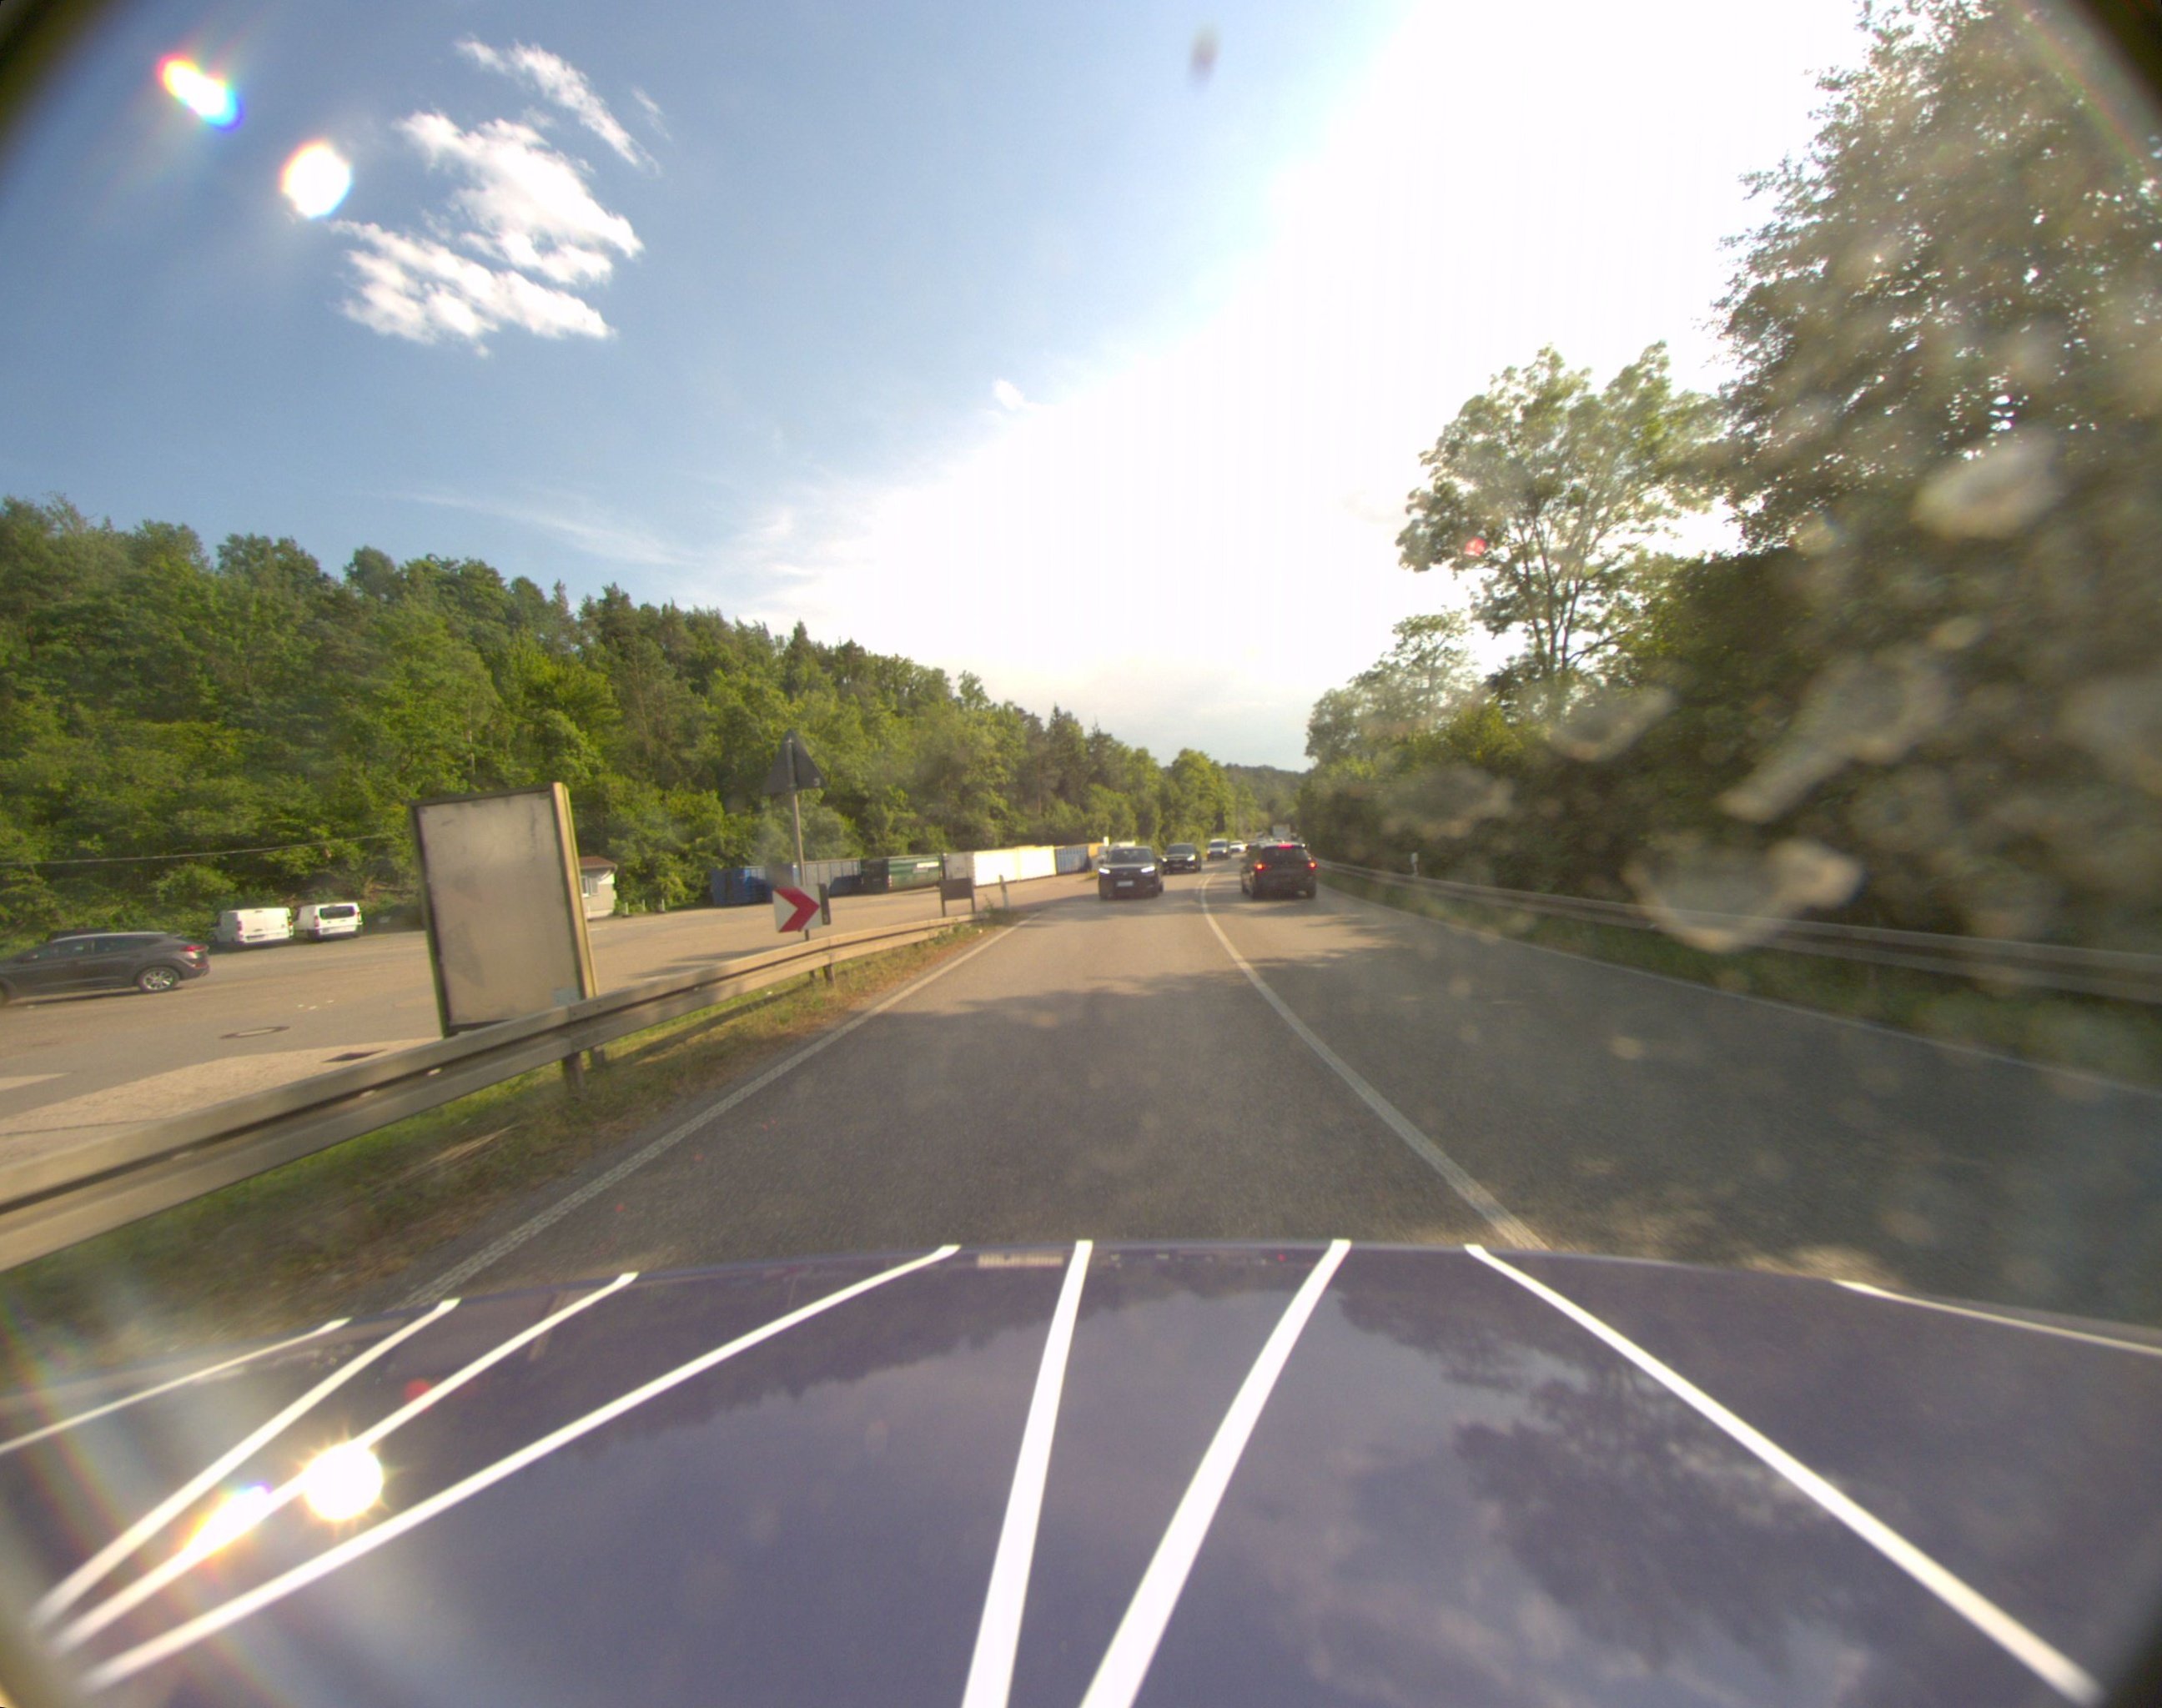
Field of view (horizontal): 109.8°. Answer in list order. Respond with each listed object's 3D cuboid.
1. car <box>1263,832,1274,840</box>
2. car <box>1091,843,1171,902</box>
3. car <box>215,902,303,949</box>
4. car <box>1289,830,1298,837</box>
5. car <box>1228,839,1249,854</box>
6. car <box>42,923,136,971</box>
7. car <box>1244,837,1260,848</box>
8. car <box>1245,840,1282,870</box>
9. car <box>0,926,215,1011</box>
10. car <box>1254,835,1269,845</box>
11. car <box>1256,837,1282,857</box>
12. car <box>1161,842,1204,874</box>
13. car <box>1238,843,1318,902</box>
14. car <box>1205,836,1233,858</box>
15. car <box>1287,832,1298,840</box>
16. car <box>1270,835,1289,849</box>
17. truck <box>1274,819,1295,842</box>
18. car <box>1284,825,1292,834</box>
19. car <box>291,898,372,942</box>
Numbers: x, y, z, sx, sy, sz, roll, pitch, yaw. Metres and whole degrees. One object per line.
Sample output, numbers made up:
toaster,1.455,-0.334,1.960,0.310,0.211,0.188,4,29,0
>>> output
car,36.137,-3.530,146.440,1.894,1.437,4.480,-2,1,17
car,1.738,0.538,24.944,1.858,1.631,4.444,-3,1,13
car,-40.761,3.540,37.683,4.088,2.002,2.003,-4,1,30
car,47.639,-4.648,170.323,1.794,1.437,3.797,-2,1,14
car,18.141,-0.911,87.605,1.894,1.437,4.480,-4,1,16
car,-43.361,4.003,33.195,4.545,1.664,2.000,-2,2,32
car,25.314,-1.704,112.578,1.857,1.412,4.423,-4,1,17
car,10.084,0.004,42.146,1.853,1.499,4.406,-1,2,13
car,-25.541,2.900,19.428,1.938,1.659,4.413,-4,-1,41
car,30.596,-2.328,128.612,1.913,1.457,4.542,-4,1,19
car,15.127,-0.607,61.029,1.662,1.437,3.925,-2,1,18
car,5.592,0.180,41.588,1.847,1.561,4.260,-2,1,13
car,5.797,0.484,22.820,1.871,1.580,4.250,-2,1,9
car,12.094,-0.633,66.260,1.866,1.710,4.768,-4,1,16
car,38.550,-3.248,138.670,1.794,1.437,3.797,-2,1,14
car,21.702,-1.315,83.008,1.794,1.437,3.797,-2,1,16
truck,28.359,-3.316,105.797,2.459,3.055,6.271,-2,1,18
car,54.608,-6.514,200.441,1.894,2.309,4.480,-2,1,18
car,-39.339,3.444,39.849,4.548,2.002,2.003,-4,1,34
